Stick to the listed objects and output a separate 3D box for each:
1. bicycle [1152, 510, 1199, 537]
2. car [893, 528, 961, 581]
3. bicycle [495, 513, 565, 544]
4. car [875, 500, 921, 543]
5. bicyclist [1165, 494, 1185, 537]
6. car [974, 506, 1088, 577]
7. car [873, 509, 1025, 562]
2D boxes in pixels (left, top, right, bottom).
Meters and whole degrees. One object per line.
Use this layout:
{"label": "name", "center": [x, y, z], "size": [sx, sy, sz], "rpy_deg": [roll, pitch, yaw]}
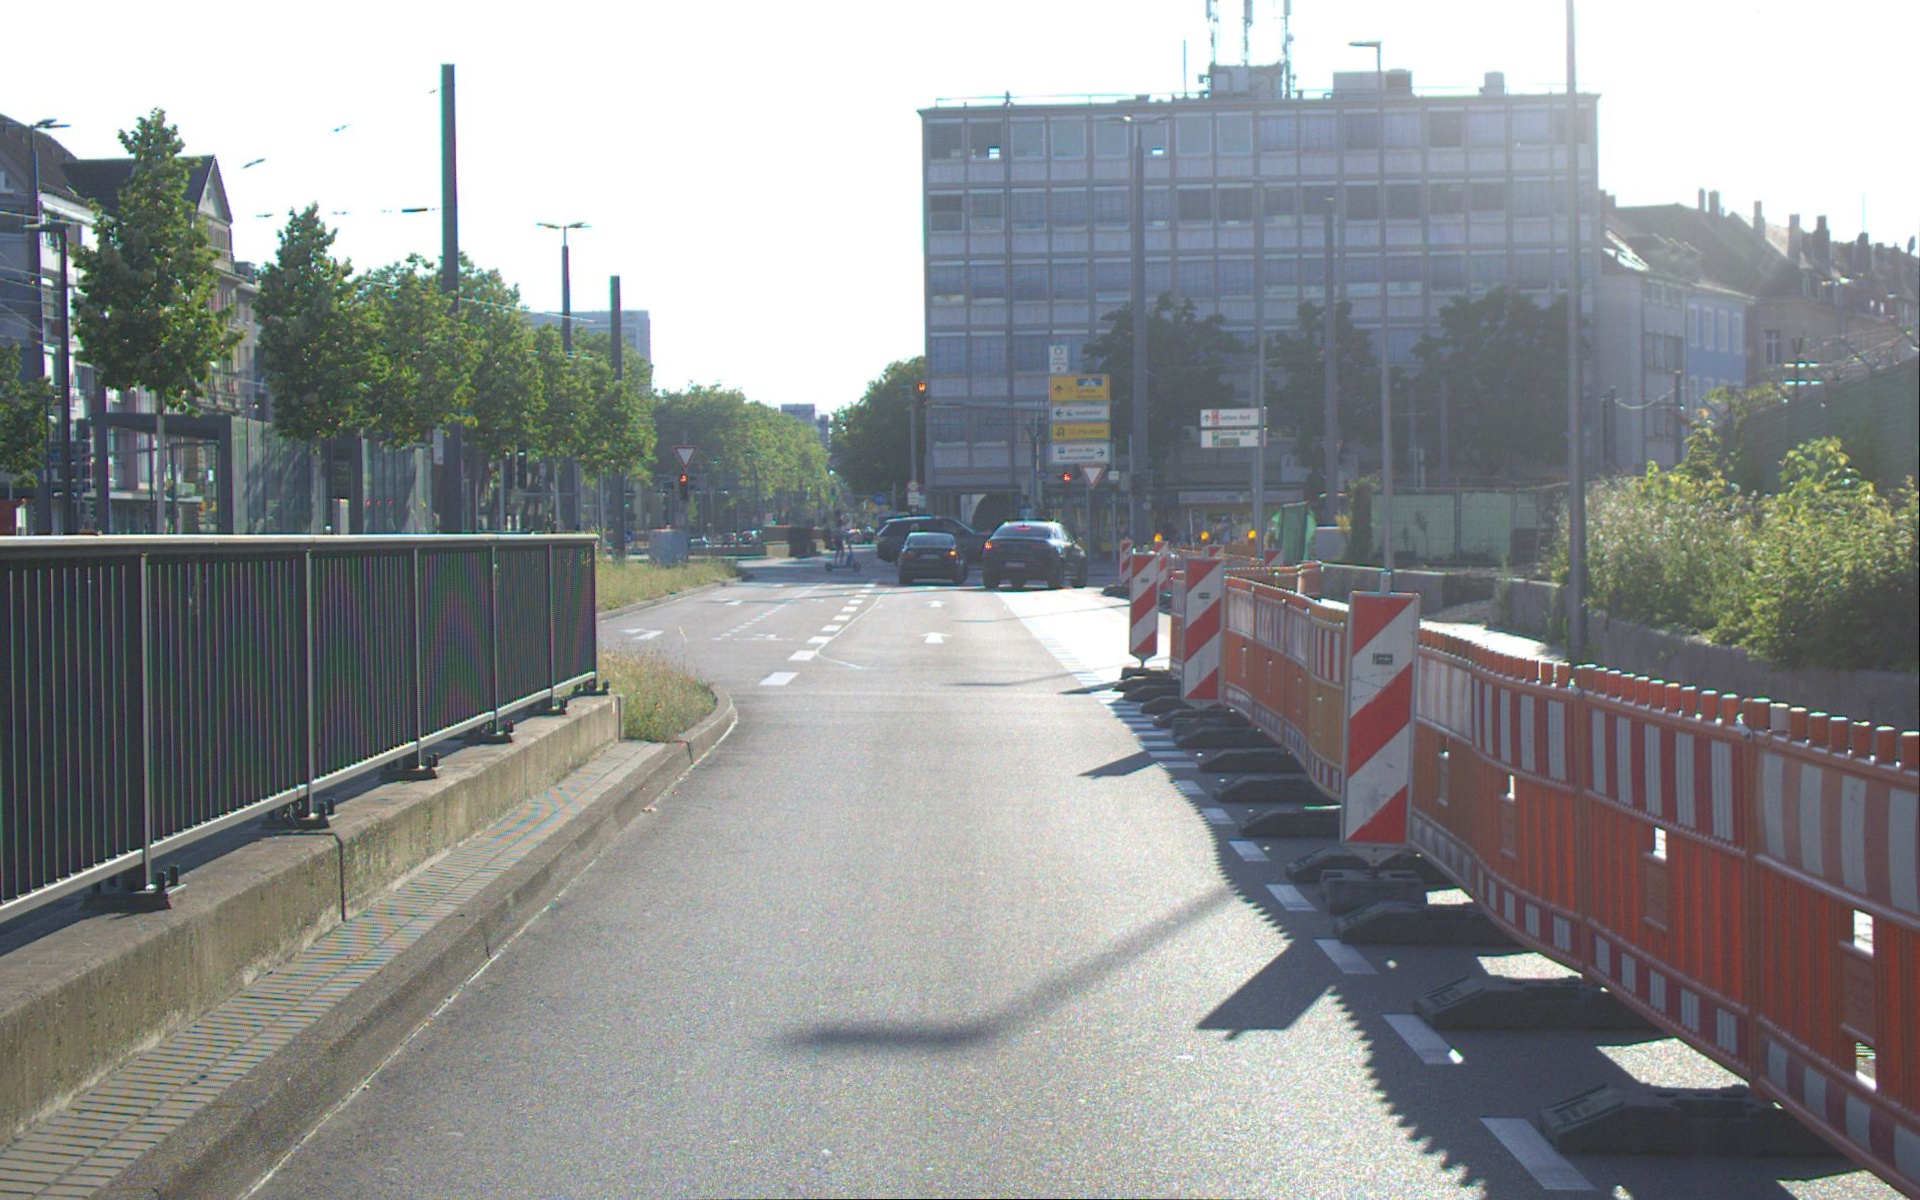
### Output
{"label": "bicycle", "center": [8.569, -3.041, 136.771], "size": [1.775, 1.068, 0.535], "rpy_deg": [-1, 1, -10]}
{"label": "car", "center": [-0.926, -1.272, 94.406], "size": [1.743, 1.421, 4.001], "rpy_deg": [0, 1, -3]}
{"label": "bicycle", "center": [-14.335, -2.367, 114.512], "size": [2.226, 1.023, 0.682], "rpy_deg": [0, 1, 3]}
{"label": "car", "center": [-3.593, -4.524, 198.574], "size": [2.486, 2.384, 5.935], "rpy_deg": [-2, 1, -1]}
{"label": "bicyclist", "center": [8.558, -3.369, 136.760], "size": [0.663, 1.706, 0.539], "rpy_deg": [-1, 1, -10]}
{"label": "car", "center": [1.864, -1.541, 89.038], "size": [1.995, 1.687, 3.997], "rpy_deg": [1, 3, 16]}
{"label": "car", "center": [-0.370, -2.173, 115.881], "size": [4.820, 1.744, 1.999], "rpy_deg": [1, 1, 11]}
